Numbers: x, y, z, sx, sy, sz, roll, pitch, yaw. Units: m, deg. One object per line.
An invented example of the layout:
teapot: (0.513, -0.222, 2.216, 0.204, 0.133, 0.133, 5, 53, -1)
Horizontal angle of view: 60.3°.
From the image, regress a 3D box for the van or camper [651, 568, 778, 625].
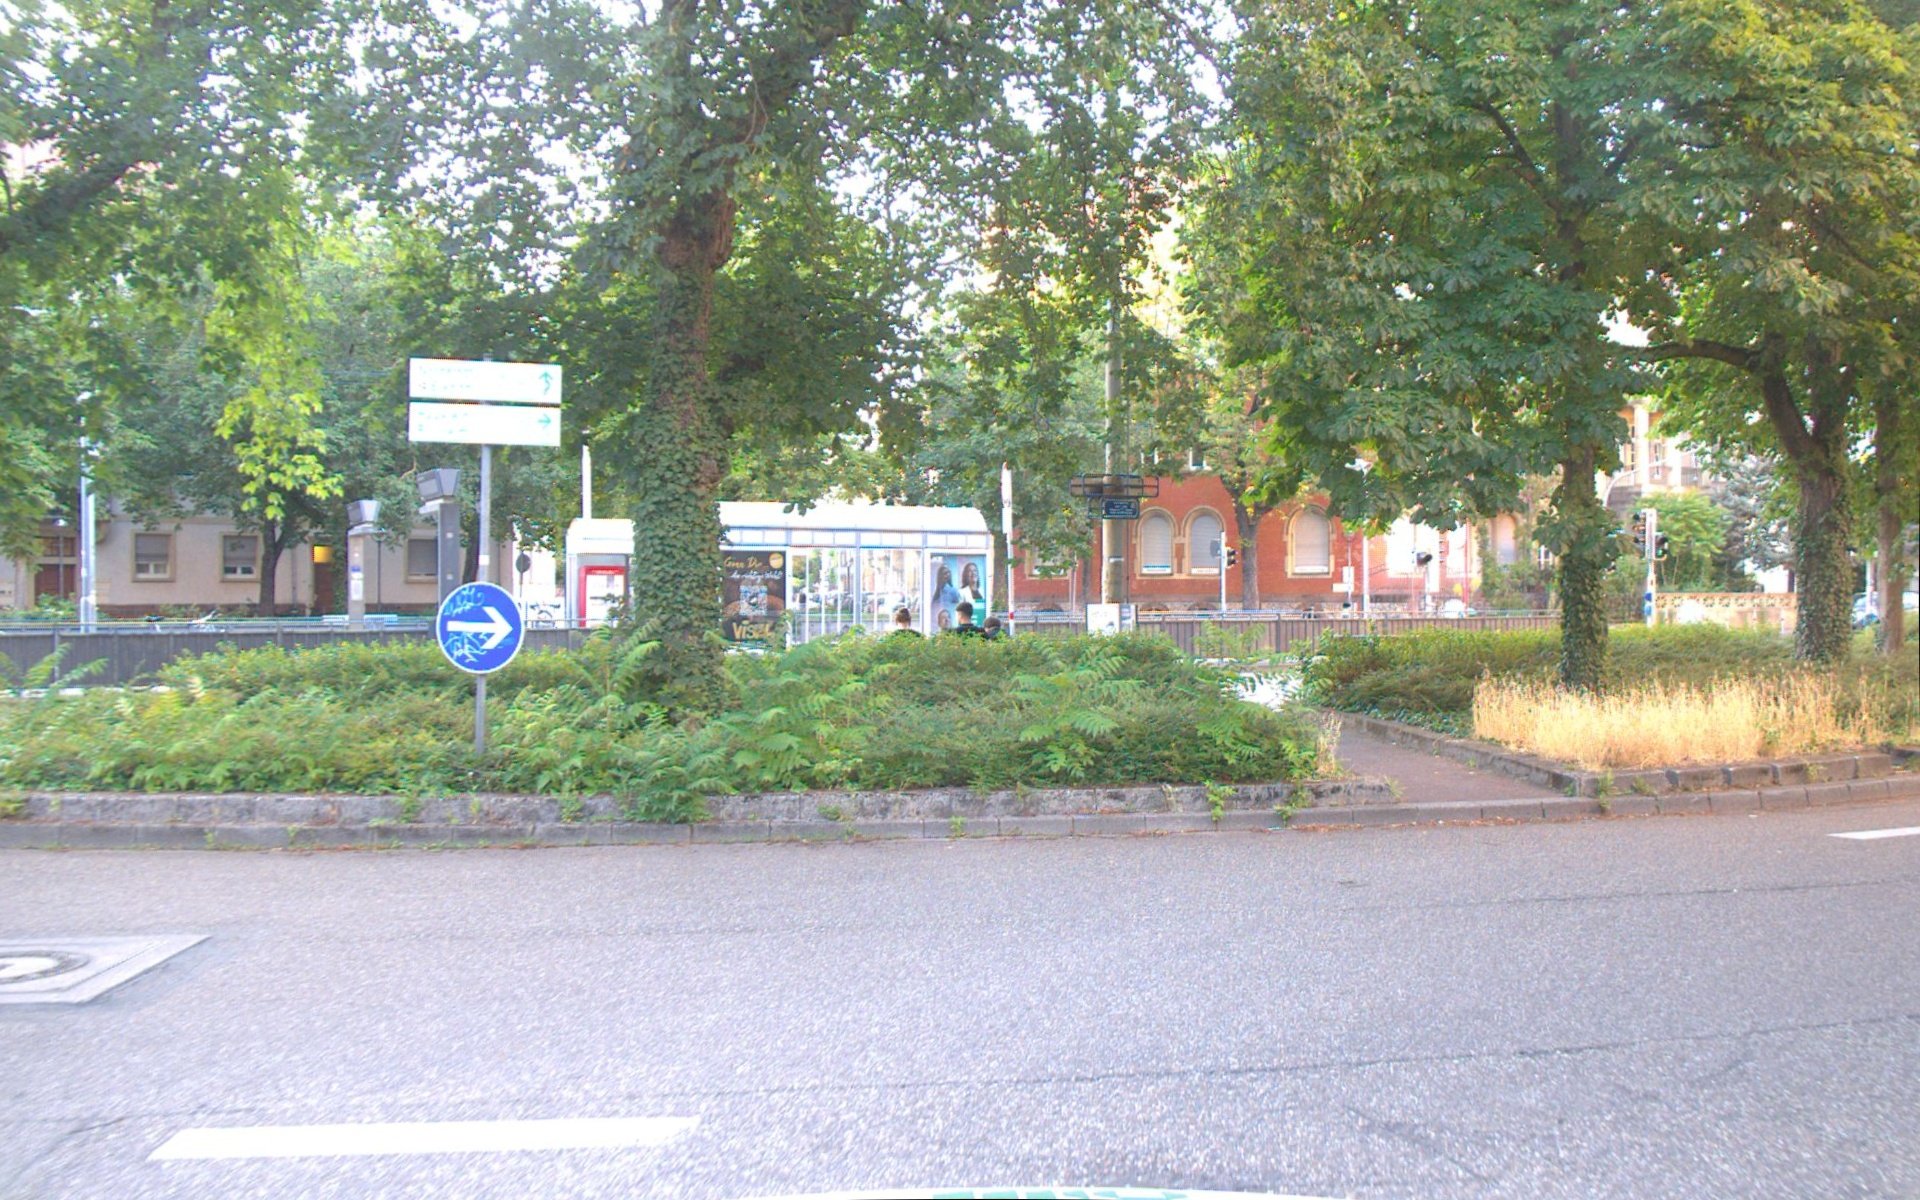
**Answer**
van or camper: (-14.438, -0.195, 97.103, 7.232, 3.137, 2.667, 1, 0, -11)

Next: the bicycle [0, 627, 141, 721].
bicycle: (-12.017, 0.962, 21.905, 2.085, 1.171, 0.680, 0, 0, -30)

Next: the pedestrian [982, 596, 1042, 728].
pedestrian: (0.585, 0.690, 18.703, 0.604, 1.456, 0.655, 0, 0, -5)

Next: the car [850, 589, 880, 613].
car: (-7.099, 0.088, 123.253, 1.956, 1.733, 4.713, 1, 0, -7)

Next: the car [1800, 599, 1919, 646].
car: (31.307, 0.742, 57.018, 4.348, 1.536, 1.936, 0, 0, -24)

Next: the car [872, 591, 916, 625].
car: (-3.522, 0.407, 87.883, 1.956, 1.733, 4.713, 1, 0, -7)

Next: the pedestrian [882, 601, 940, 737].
pedestrian: (-0.543, 0.748, 18.165, 0.604, 1.456, 0.655, 0, 0, -5)

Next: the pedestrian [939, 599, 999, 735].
pedestrian: (0.095, 0.726, 18.213, 0.604, 1.456, 0.655, 0, 0, -5)

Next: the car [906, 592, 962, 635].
car: (-1.162, 0.569, 71.736, 1.956, 1.733, 4.713, 1, 0, -7)

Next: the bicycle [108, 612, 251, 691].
bicycle: (-11.197, 0.724, 23.754, 1.828, 1.070, 0.541, 0, 0, -28)
